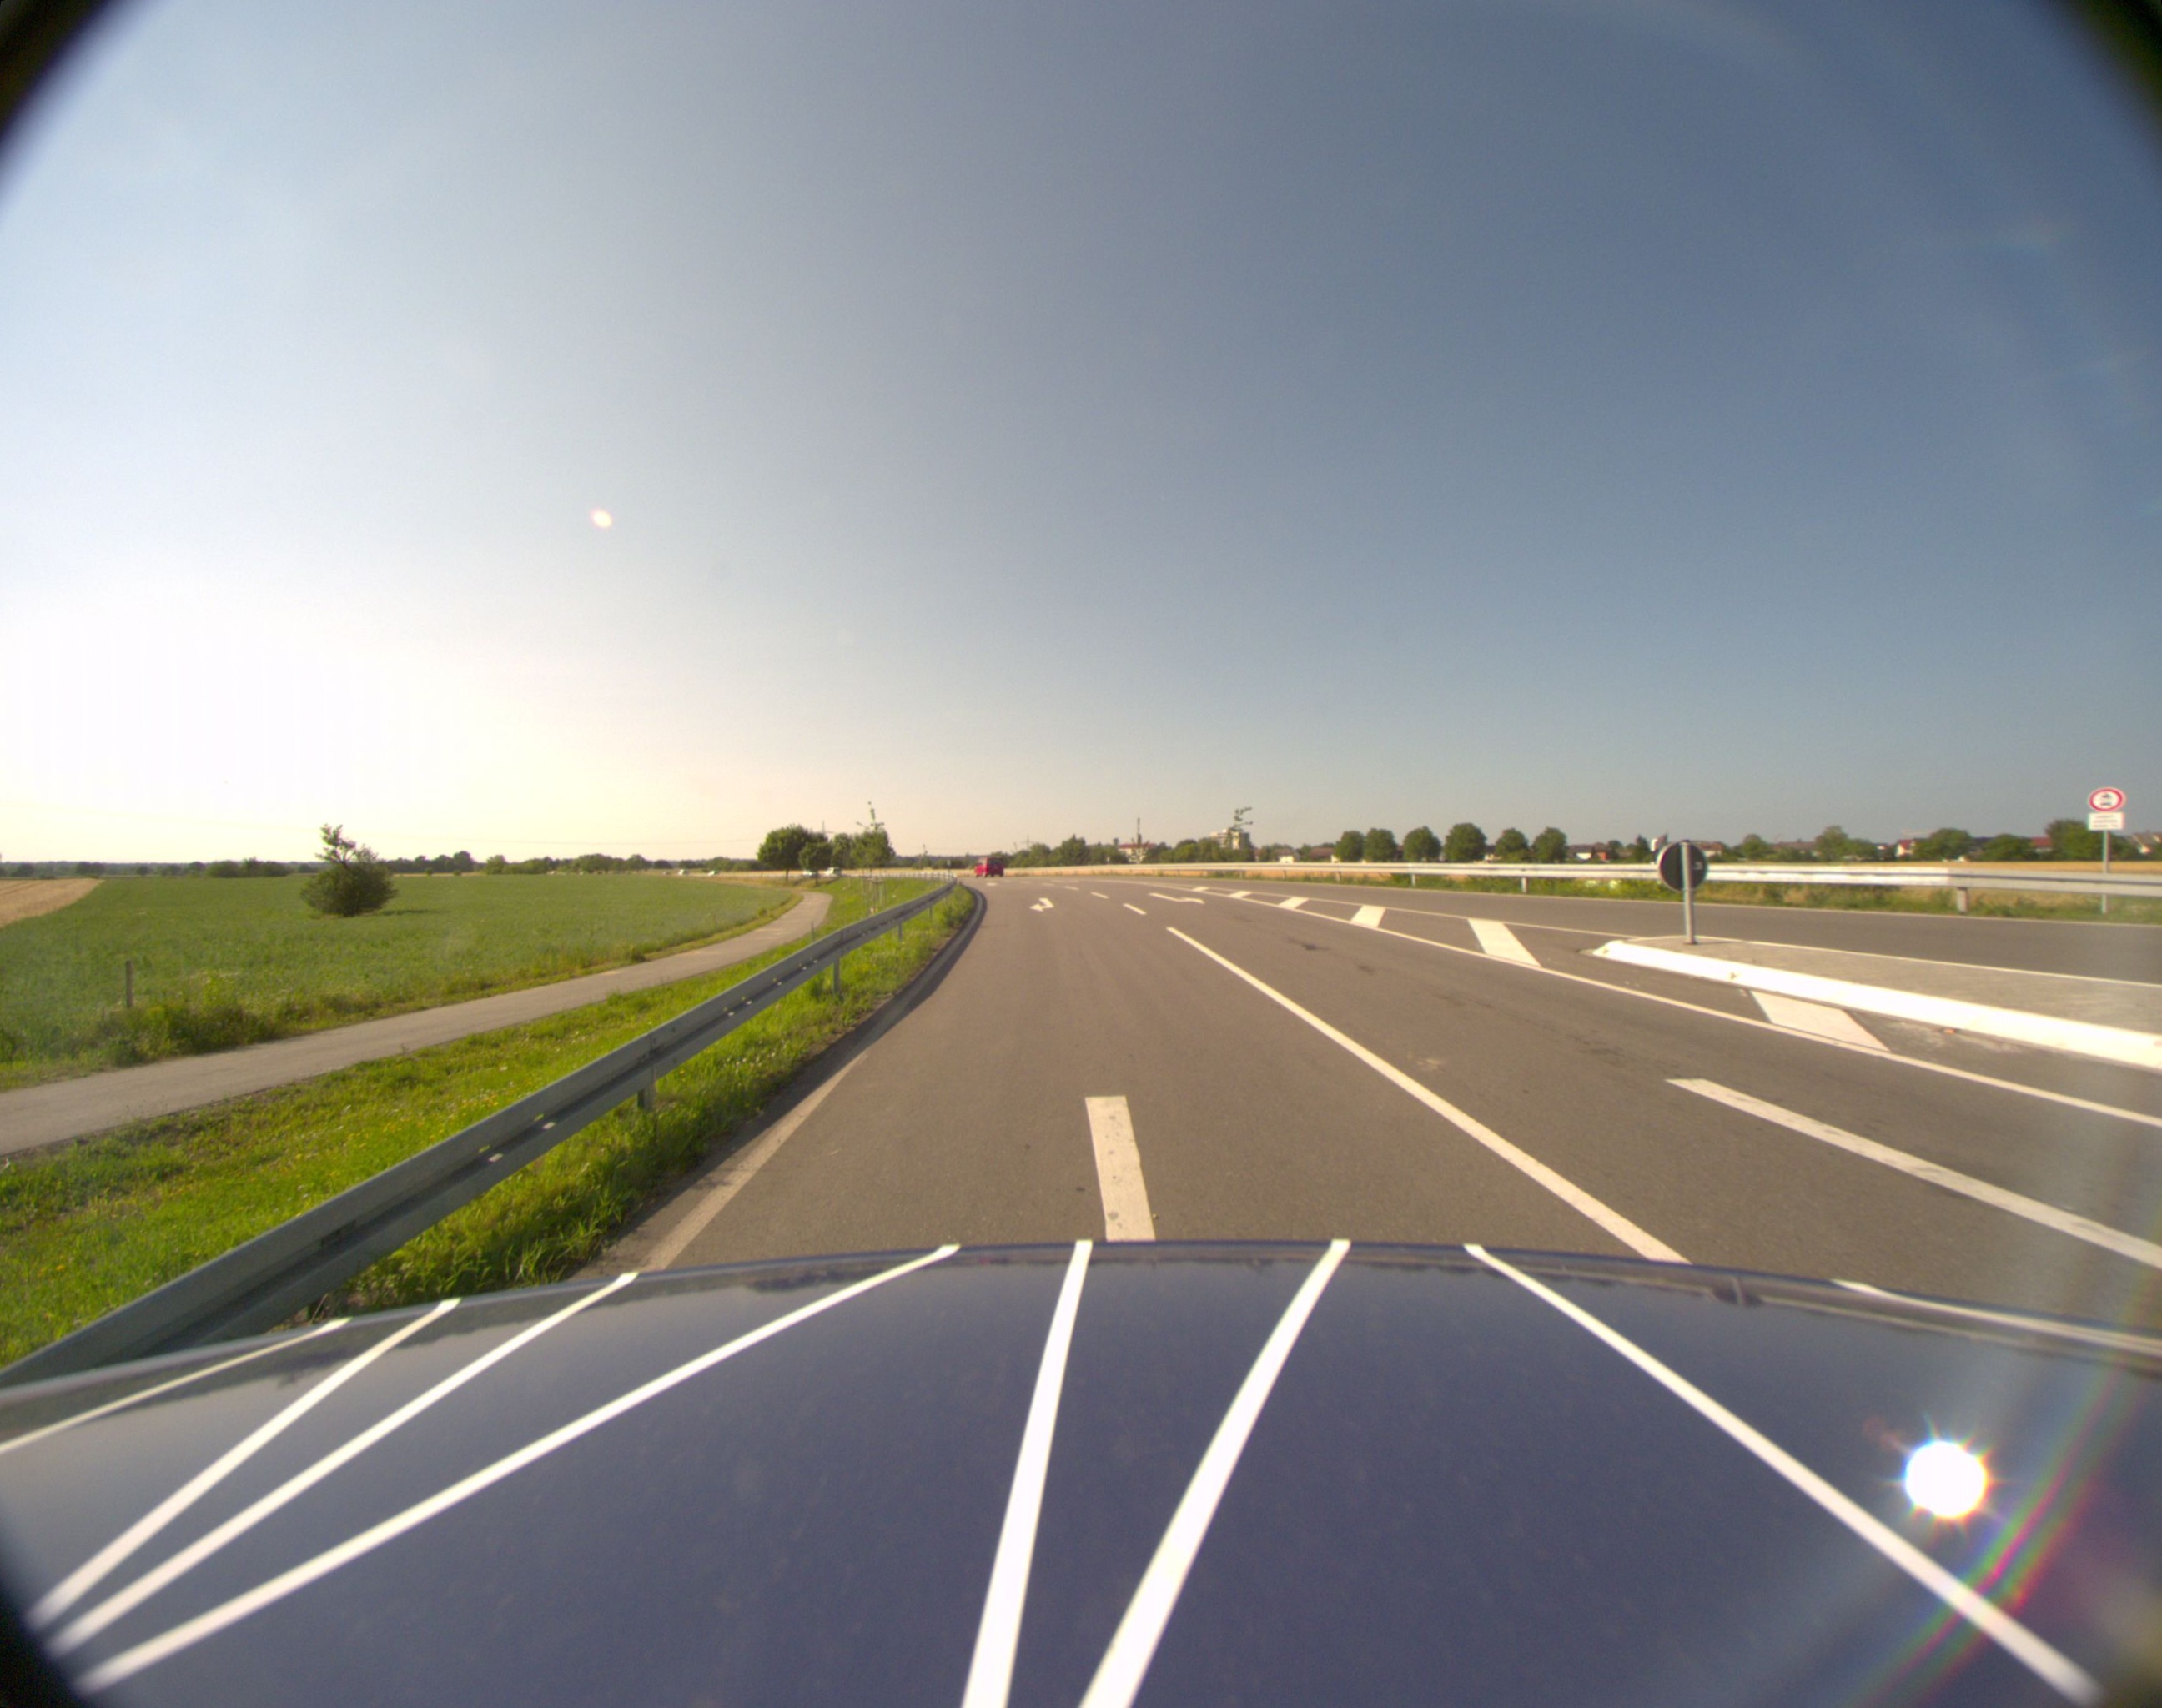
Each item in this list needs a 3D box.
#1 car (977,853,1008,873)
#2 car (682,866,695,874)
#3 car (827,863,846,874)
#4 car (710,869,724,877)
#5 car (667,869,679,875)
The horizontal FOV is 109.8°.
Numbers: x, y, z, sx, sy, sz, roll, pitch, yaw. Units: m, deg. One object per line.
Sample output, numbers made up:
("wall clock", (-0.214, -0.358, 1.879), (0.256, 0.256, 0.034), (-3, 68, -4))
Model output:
("car", (-8.819, 0.915, 75.406), (1.841, 1.929, 4.918), (-1, -1, -21))
("car", (-108.416, 4.473, 209.934), (2.126, 2.001, 5.142), (-2, -2, -38))
("car", (-42.935, 2.479, 133.286), (1.700, 1.664, 4.849), (-3, 4, -34))
("car", (-89.436, 4.697, 186.678), (2.126, 1.484, 5.141), (-2, -2, -38))
("car", (-120.578, 5.285, 224.519), (1.804, 1.439, 4.694), (-2, -3, -45))
